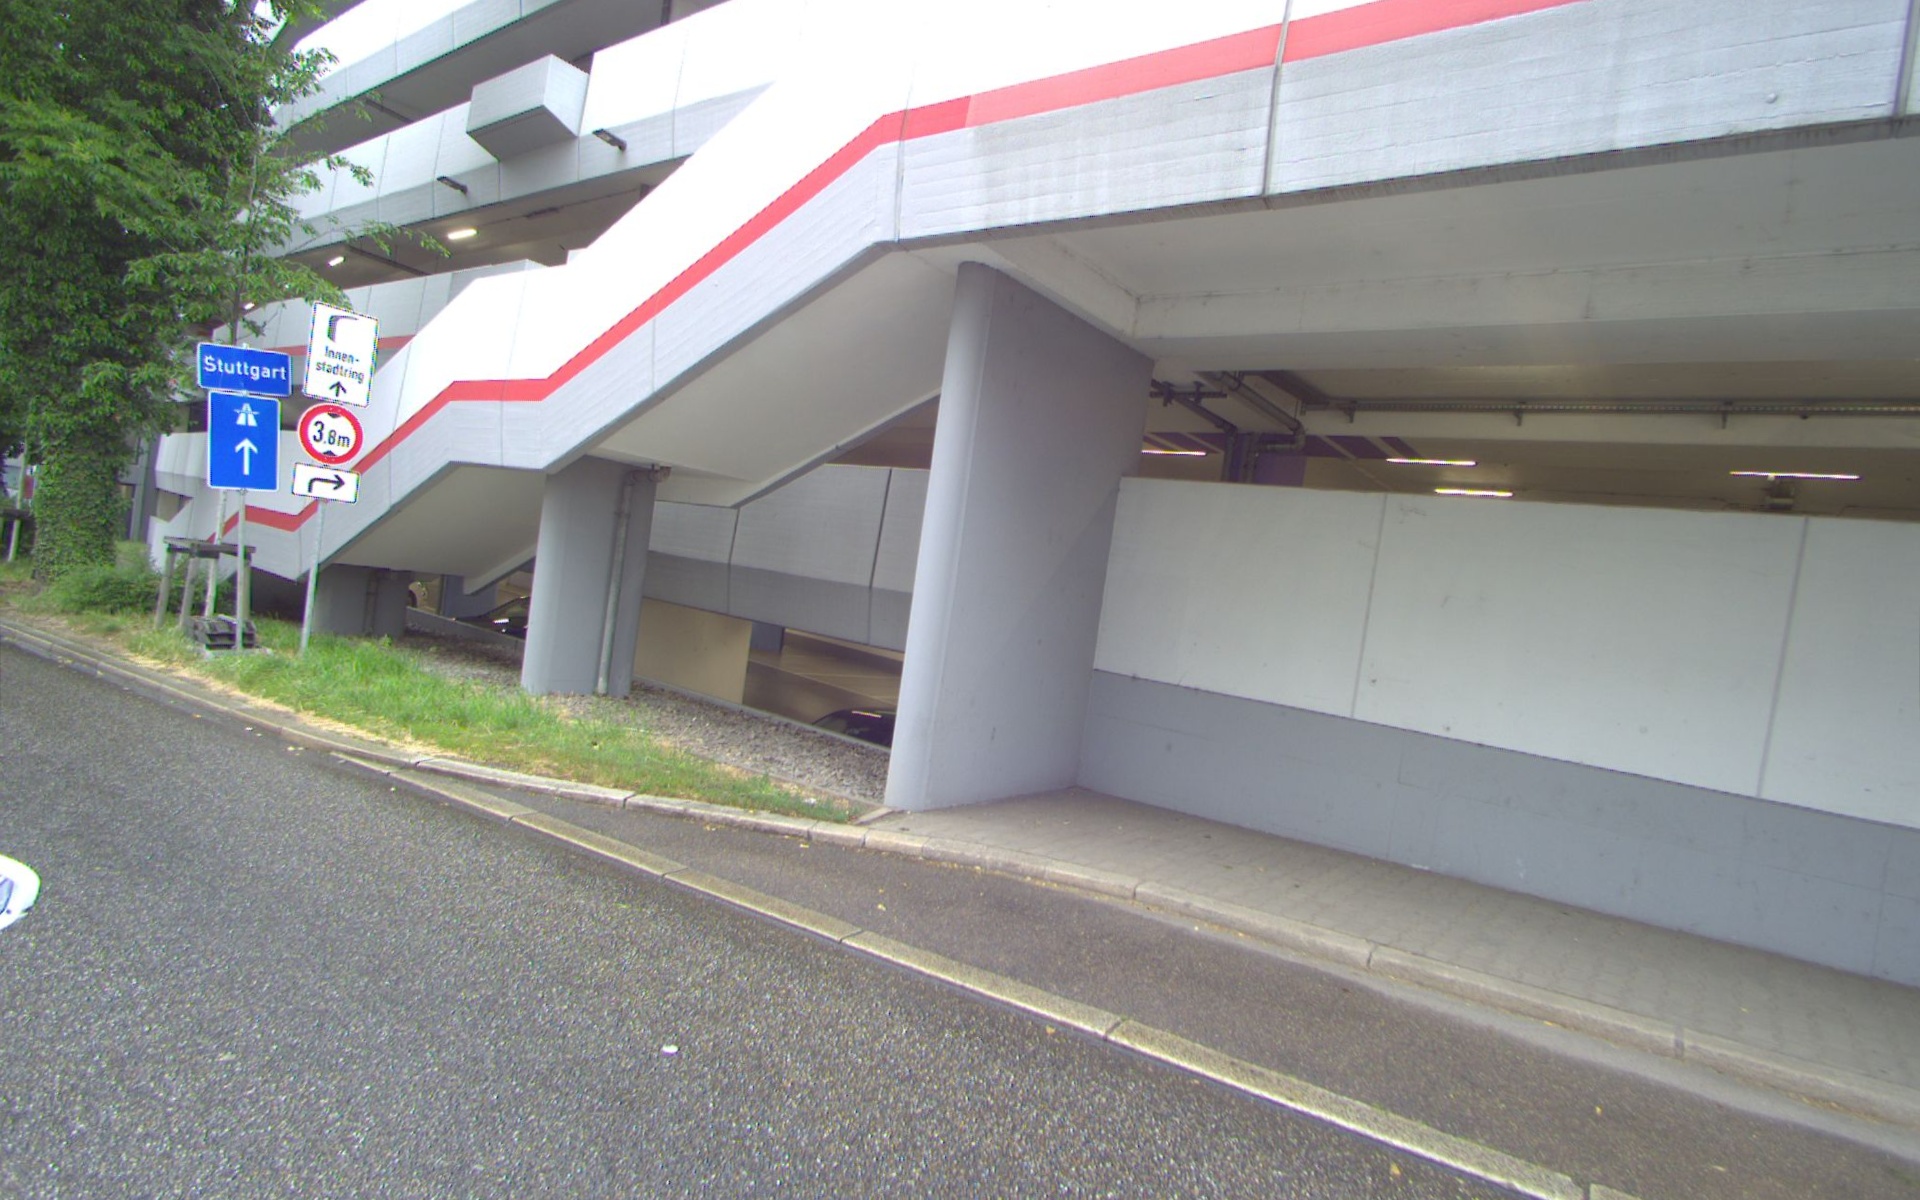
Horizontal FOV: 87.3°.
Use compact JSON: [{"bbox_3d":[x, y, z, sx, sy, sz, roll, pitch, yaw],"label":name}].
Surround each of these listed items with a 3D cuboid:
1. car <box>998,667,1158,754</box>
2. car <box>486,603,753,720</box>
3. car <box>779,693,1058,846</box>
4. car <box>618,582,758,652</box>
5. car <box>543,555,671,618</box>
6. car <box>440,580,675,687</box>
[{"bbox_3d":[2.880,2.606,23.804,1.810,1.559,3.988,11,2,37],"label":"car"},{"bbox_3d":[-5.818,1.133,17.610,1.810,1.643,3.988,7,-1,36],"label":"car"},{"bbox_3d":[-0.462,2.350,14.667,1.810,1.559,3.931,11,2,37],"label":"car"},{"bbox_3d":[-8.905,0.591,33.177,1.792,1.804,3.979,7,0,44],"label":"car"},{"bbox_3d":[-13.045,-0.468,37.290,1.792,1.804,3.979,7,0,44],"label":"car"},{"bbox_3d":[-7.748,0.706,19.623,1.782,1.559,3.734,11,2,37],"label":"car"}]
